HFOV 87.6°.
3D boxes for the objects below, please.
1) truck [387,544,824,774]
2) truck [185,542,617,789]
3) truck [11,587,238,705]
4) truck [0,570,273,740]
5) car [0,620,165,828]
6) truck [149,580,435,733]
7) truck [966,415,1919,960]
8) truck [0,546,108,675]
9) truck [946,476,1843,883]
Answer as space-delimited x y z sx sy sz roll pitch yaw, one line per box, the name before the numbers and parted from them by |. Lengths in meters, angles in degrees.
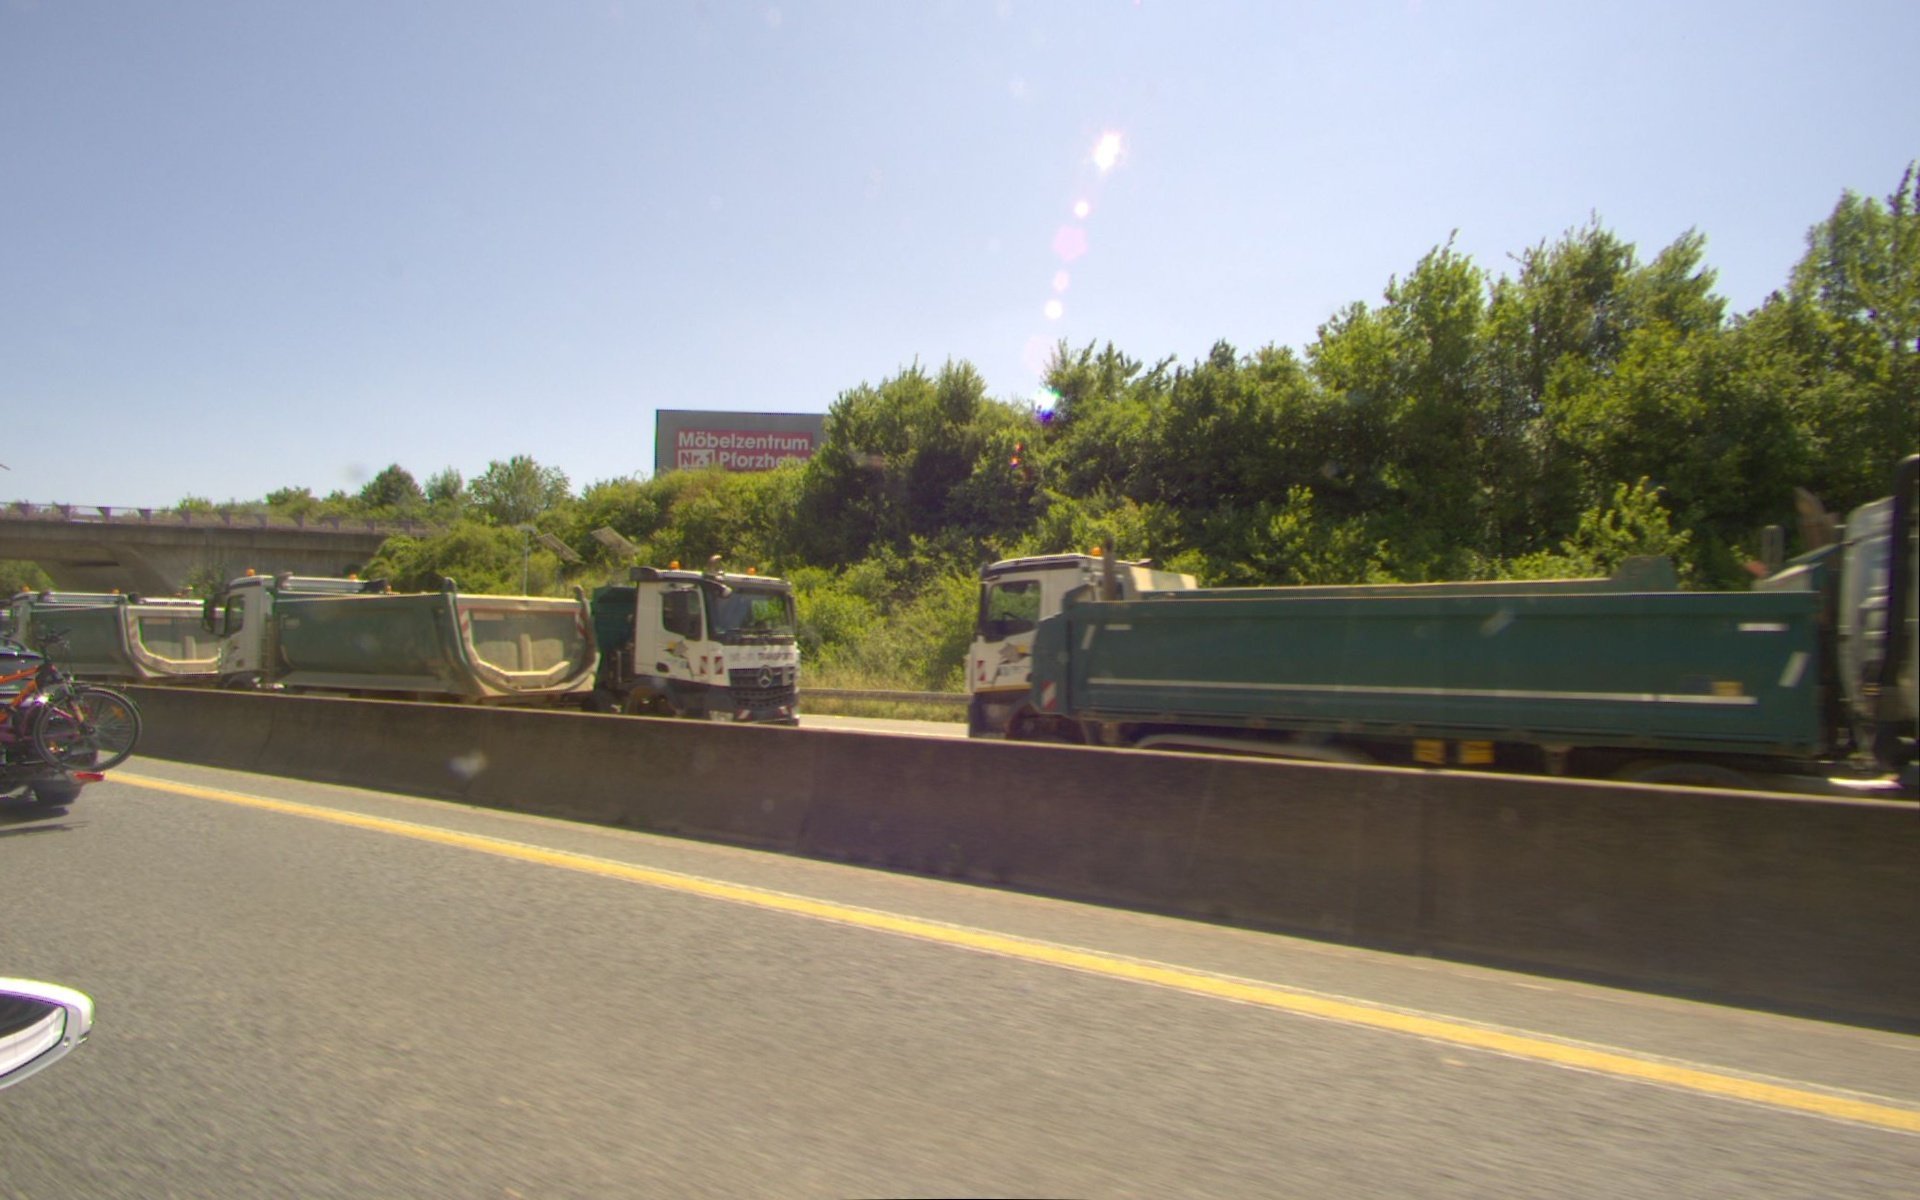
truck | -7.168 1.035 19.410 9.464 3.602 2.683 -1 -2 32
truck | -10.501 1.066 18.293 9.465 3.602 2.683 -1 -2 32
truck | -27.285 1.433 32.536 9.461 3.421 2.684 -1 -2 31
truck | -20.799 1.277 24.948 9.273 3.602 2.682 -1 -2 33
car | -8.981 0.954 8.615 4.878 1.509 1.896 -1 -2 33
truck | -17.624 1.368 26.118 9.467 3.421 2.682 -1 -2 33
truck | 4.733 0.652 9.139 9.464 3.602 2.534 -1 -2 32
truck | -30.178 0.387 31.246 9.189 3.602 2.684 -1 -2 31
truck | 4.510 0.811 12.551 9.465 3.602 2.683 -1 -2 32
